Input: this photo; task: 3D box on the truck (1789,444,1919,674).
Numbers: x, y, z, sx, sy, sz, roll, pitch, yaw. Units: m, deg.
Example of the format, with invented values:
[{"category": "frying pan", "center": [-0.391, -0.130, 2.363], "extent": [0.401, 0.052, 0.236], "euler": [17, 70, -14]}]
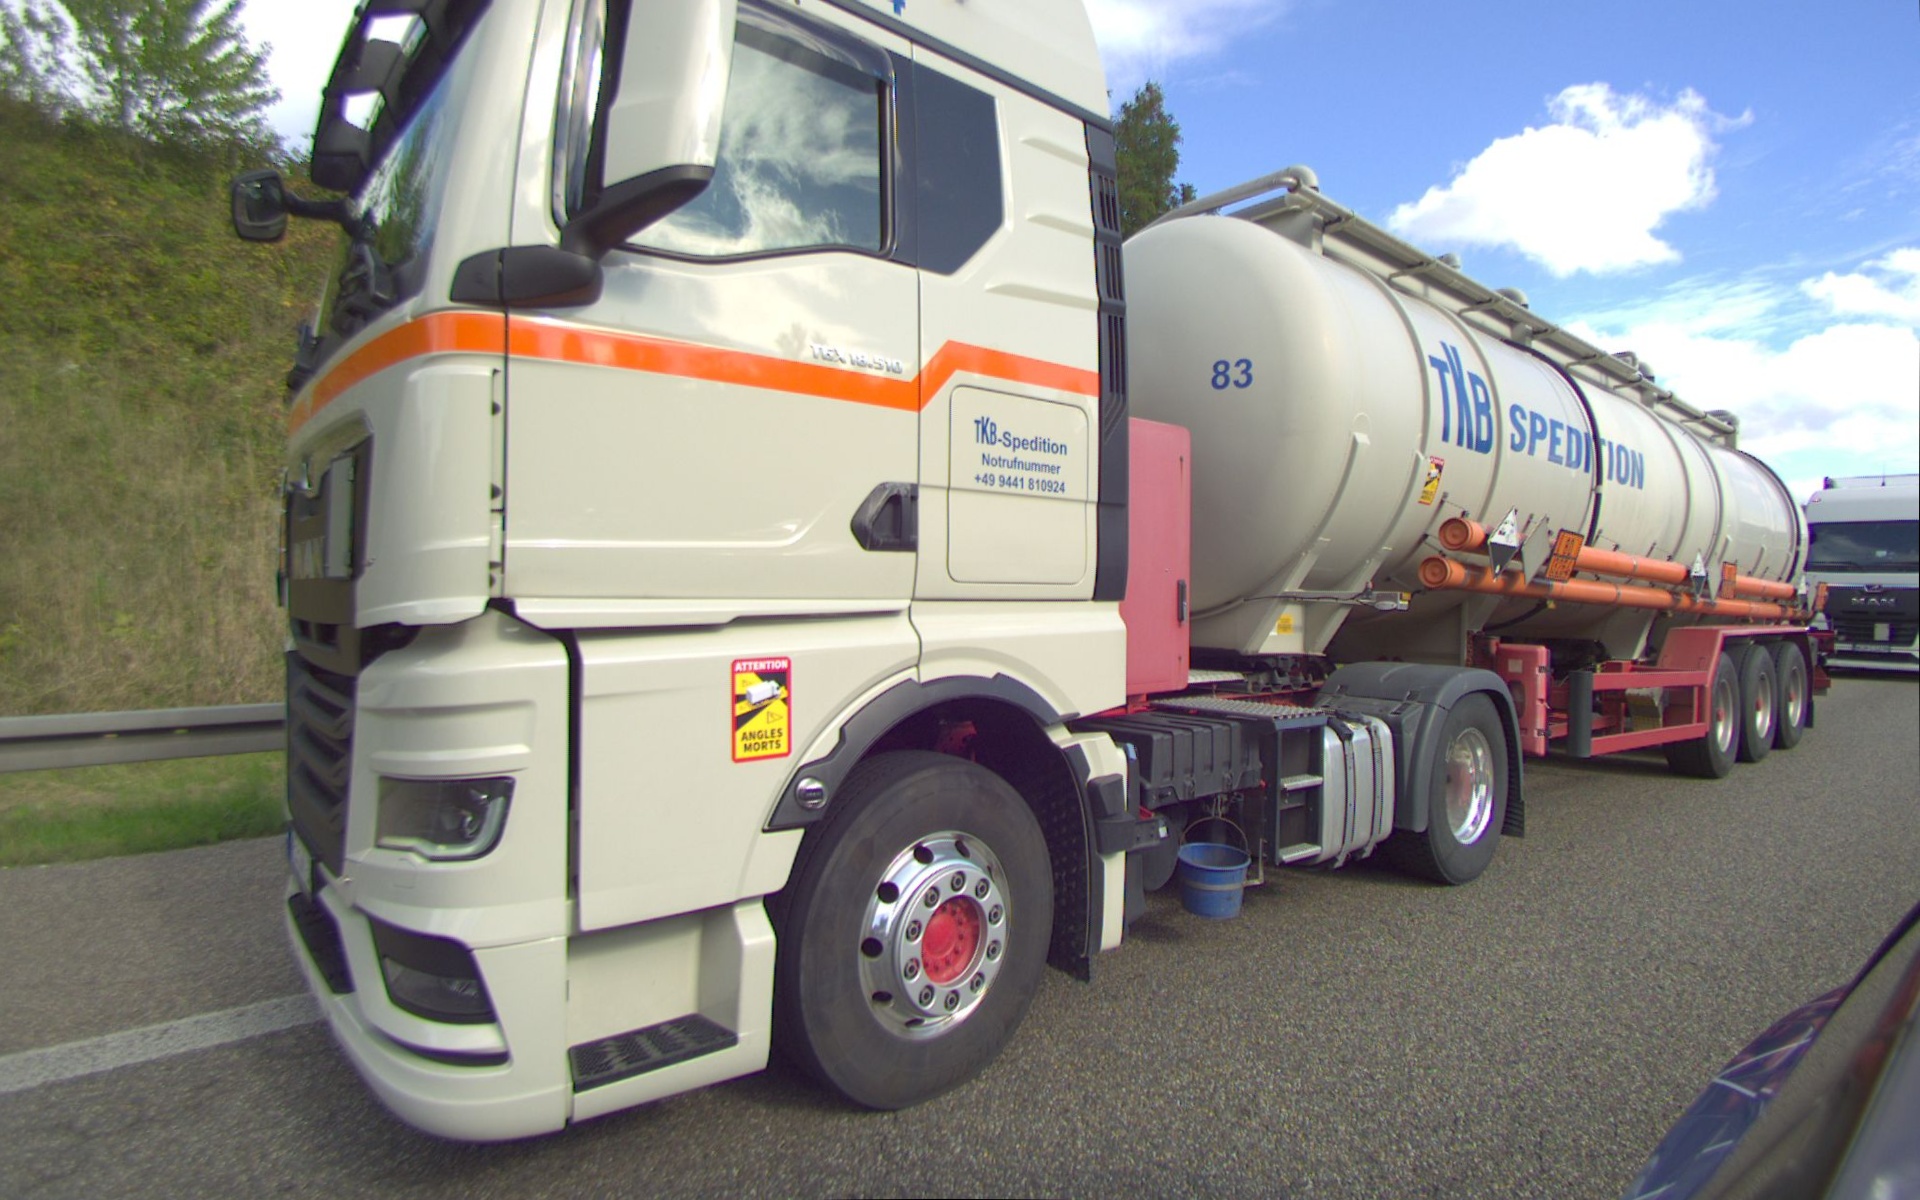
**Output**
[{"category": "truck", "center": [19.040, -0.751, 20.183], "extent": [5.605, 4.122, 2.840], "euler": [0, 1, -39]}]

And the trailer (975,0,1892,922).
[{"category": "trailer", "center": [5.210, -0.743, 8.804], "extent": [10.982, 4.077, 2.804], "euler": [0, 1, -40]}]

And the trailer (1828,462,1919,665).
[{"category": "trailer", "center": [24.547, -0.784, 24.746], "extent": [13.132, 4.122, 2.832], "euler": [0, 1, -40]}]

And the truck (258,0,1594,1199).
[{"category": "truck", "center": [0.333, -0.712, 4.765], "extent": [5.798, 4.094, 2.809], "euler": [0, 1, -39]}]
